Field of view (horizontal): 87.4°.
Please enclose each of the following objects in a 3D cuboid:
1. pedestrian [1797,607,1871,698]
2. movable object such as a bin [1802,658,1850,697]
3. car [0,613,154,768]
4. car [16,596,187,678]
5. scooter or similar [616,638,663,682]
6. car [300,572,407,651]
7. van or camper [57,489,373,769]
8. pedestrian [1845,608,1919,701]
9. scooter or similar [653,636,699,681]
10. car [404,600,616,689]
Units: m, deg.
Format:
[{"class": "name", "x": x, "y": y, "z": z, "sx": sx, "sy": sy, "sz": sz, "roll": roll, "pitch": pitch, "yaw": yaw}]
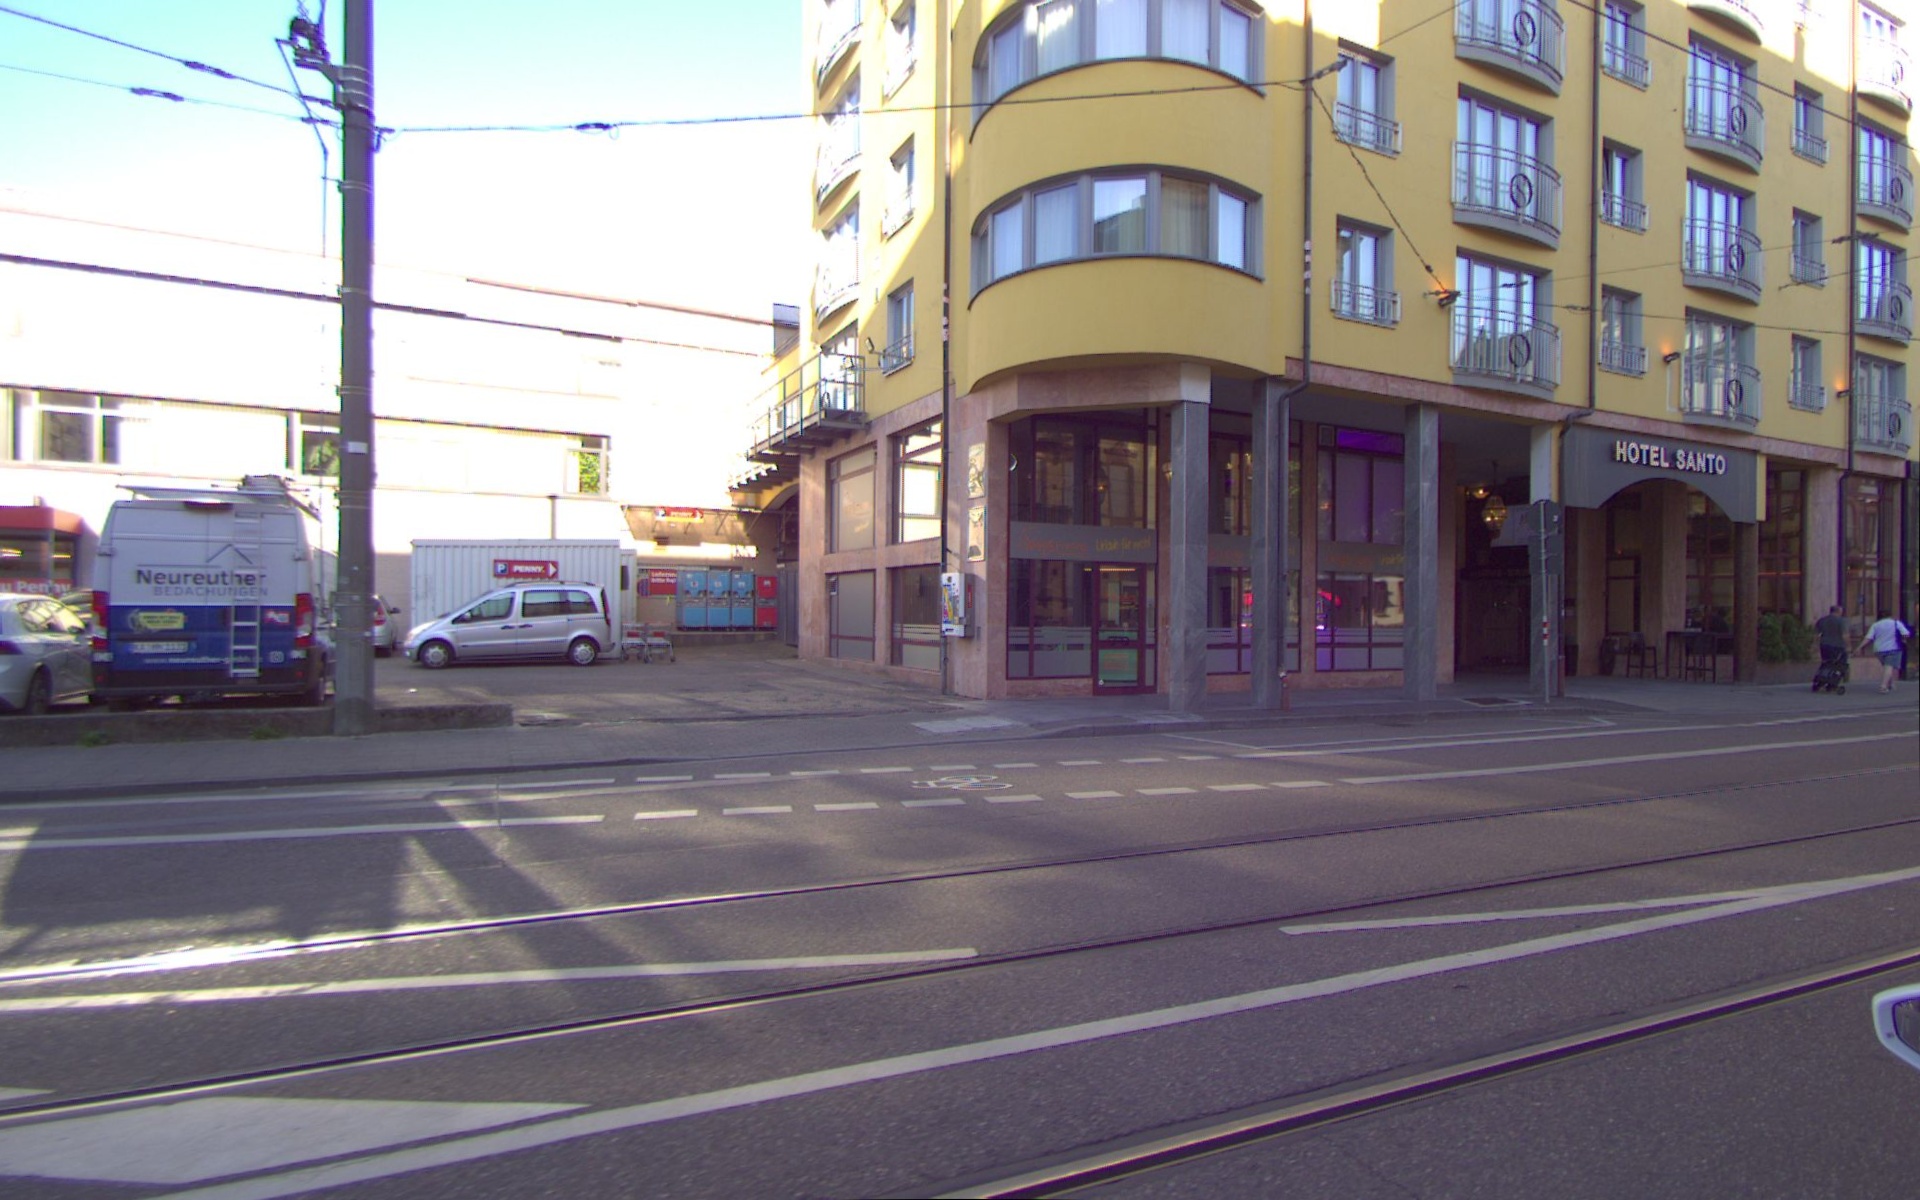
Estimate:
[{"class": "pedestrian", "x": 18.349, "y": 1.078, "z": 21.098, "sx": 0.740, "sy": 1.795, "sz": 0.794, "roll": 0, "pitch": 5, "yaw": -27}, {"class": "movable object such as a bin", "x": 17.743, "y": 1.583, "z": 20.573, "sx": 0.830, "sy": 0.726, "sz": 0.382, "roll": 1, "pitch": 5, "yaw": -26}, {"class": "car", "x": -11.479, "y": 0.951, "z": 12.006, "sx": 1.854, "sy": 1.495, "sz": 4.574, "roll": 0, "pitch": 0, "yaw": -25}, {"class": "car", "x": -18.350, "y": 0.728, "z": 21.701, "sx": 1.975, "sy": 1.528, "sz": 3.970, "roll": 1, "pitch": 0, "yaw": -28}, {"class": "scooter or similar", "x": -7.608, "y": 1.408, "z": 23.799, "sx": 0.837, "sy": 0.967, "sz": 1.281, "roll": 1, "pitch": 0, "yaw": -28}, {"class": "car", "x": -14.469, "y": 0.238, "z": 24.148, "sx": 1.975, "sy": 1.723, "sz": 3.970, "roll": 1, "pitch": 0, "yaw": -28}, {"class": "van or camper", "x": -9.417, "y": 0.286, "z": 13.332, "sx": 2.284, "sy": 2.865, "sz": 5.588, "roll": 0, "pitch": 0, "yaw": -25}, {"class": "pedestrian", "x": 19.459, "y": 1.128, "z": 21.164, "sx": 1.032, "sy": 1.843, "sz": 0.748, "roll": 0, "pitch": 5, "yaw": -27}, {"class": "scooter or similar", "x": -6.849, "y": 1.404, "z": 24.200, "sx": 0.799, "sy": 0.997, "sz": 1.264, "roll": 1, "pitch": 0, "yaw": -28}, {"class": "car", "x": -9.806, "y": 0.923, "z": 21.978, "sx": 4.069, "sy": 1.759, "sz": 1.985, "roll": 1, "pitch": 0, "yaw": -28}]
